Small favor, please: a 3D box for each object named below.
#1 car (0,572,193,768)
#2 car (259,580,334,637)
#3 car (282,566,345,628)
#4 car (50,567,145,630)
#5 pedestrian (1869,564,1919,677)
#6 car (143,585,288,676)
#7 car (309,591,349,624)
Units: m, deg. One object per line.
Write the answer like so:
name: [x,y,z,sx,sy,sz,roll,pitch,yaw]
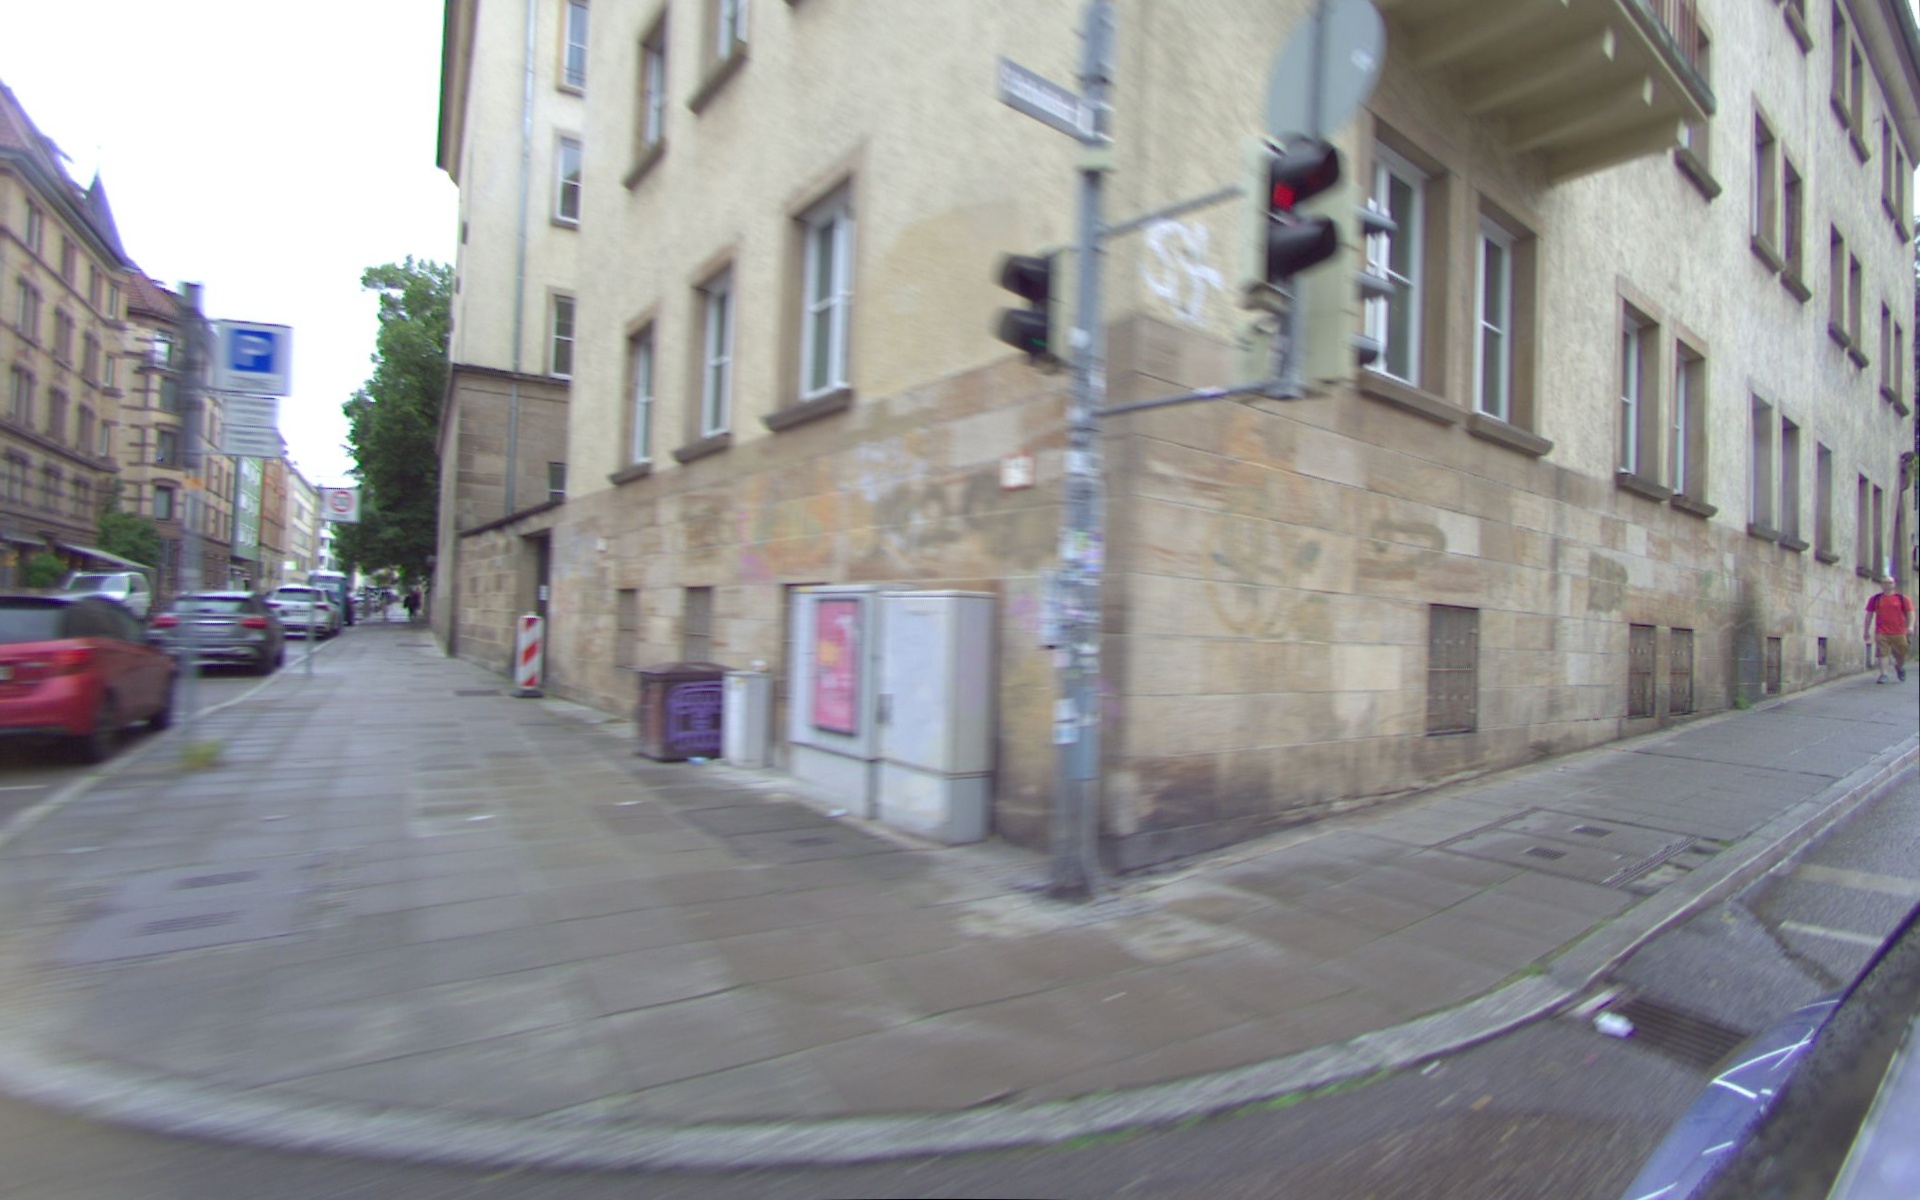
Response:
car: [-8.777,0.523,9.610,1.730,1.537,3.868,-1,2,-28]
car: [-21.024,0.217,32.190,1.797,1.634,3.866,-1,2,-30]
car: [-23.970,-0.177,37.638,1.797,2.192,3.866,-1,2,-30]
car: [-30.348,-0.117,35.751,1.797,2.096,4.336,-1,2,-30]
pedestrian: [15.567,0.323,16.644,0.804,1.785,0.748,-1,3,-40]
car: [-13.851,0.486,19.037,1.797,1.474,3.866,0,1,-30]
car: [-28.662,0.300,46.003,1.414,1.337,3.620,-1,2,-30]
